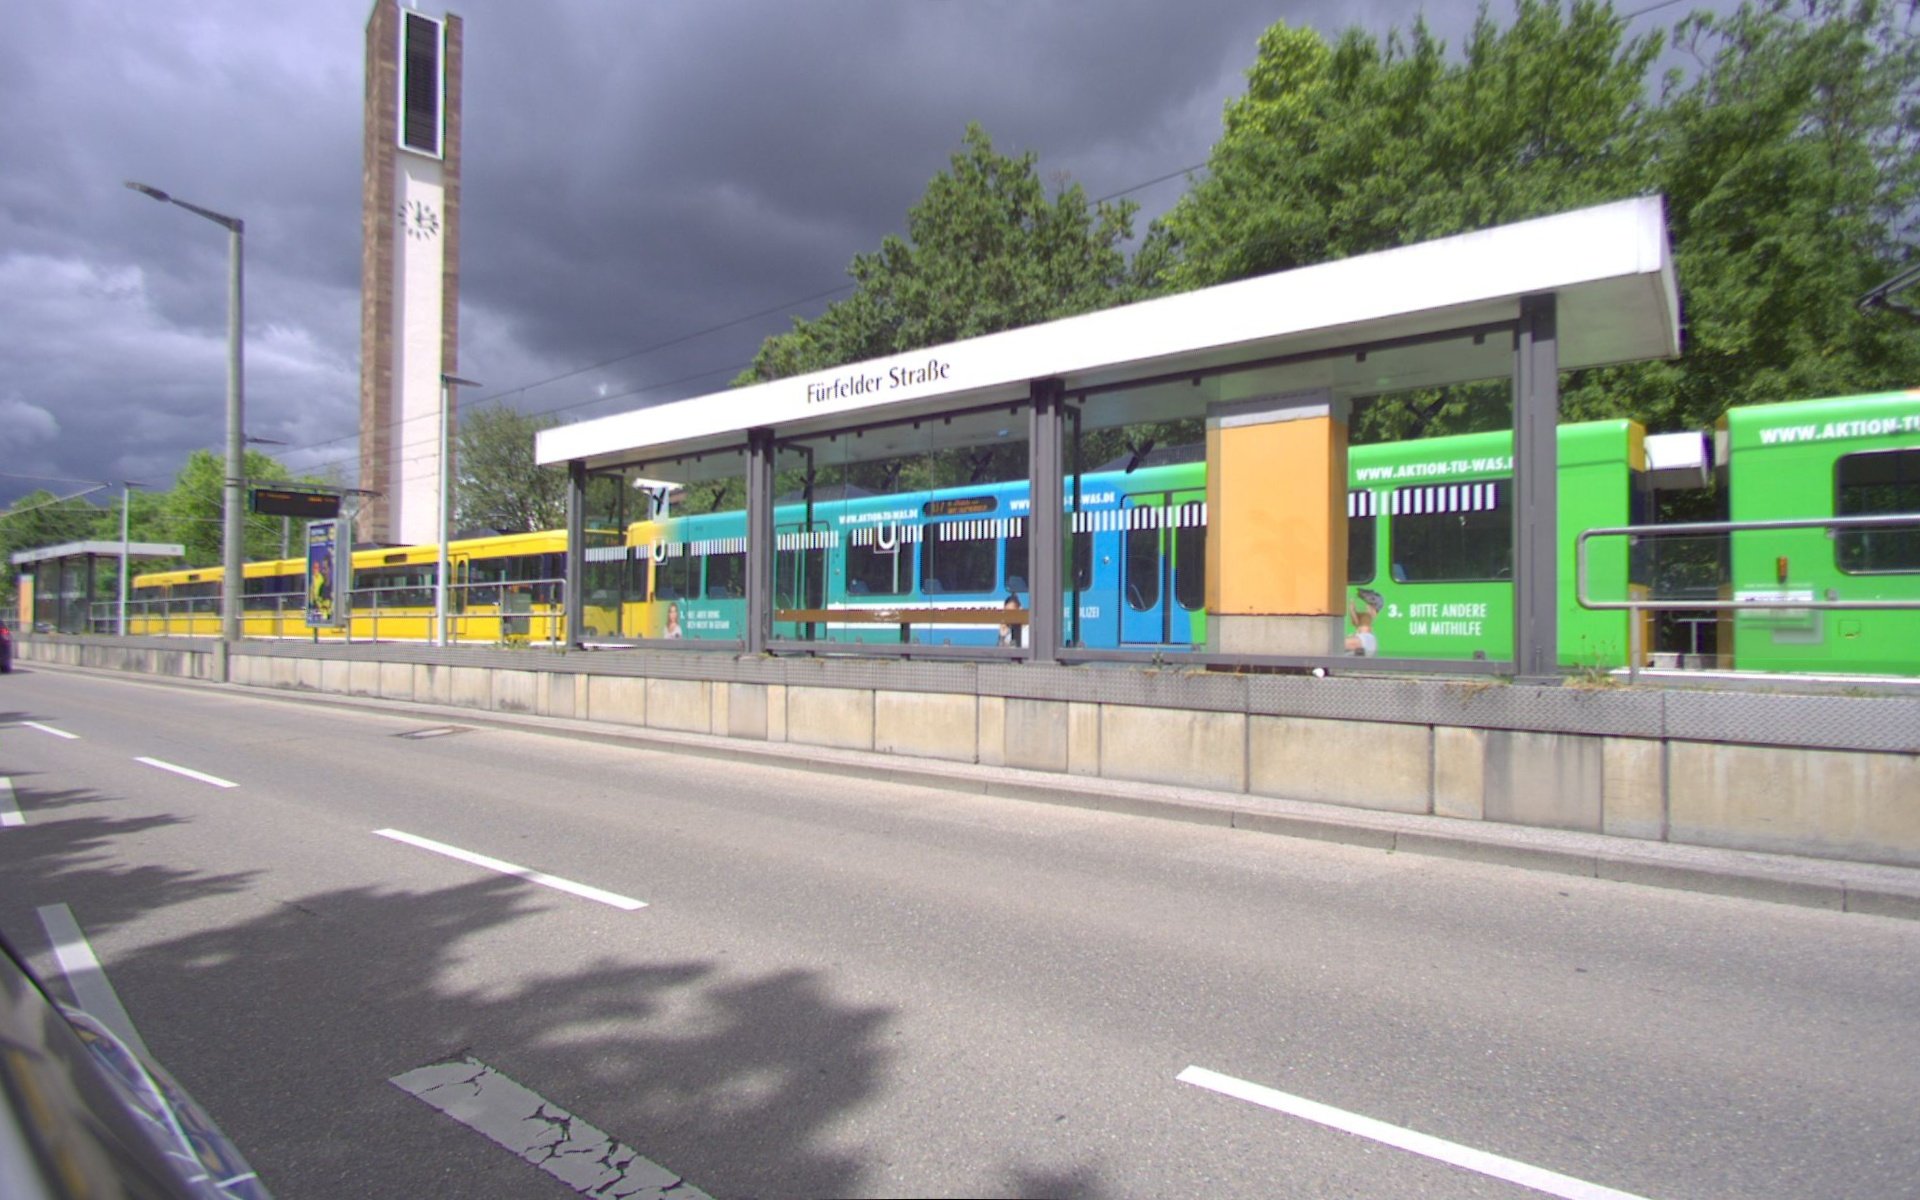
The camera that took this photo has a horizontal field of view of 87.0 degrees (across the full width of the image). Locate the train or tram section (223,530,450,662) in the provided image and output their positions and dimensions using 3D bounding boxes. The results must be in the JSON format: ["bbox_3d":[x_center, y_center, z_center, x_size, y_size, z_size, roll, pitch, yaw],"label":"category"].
[{"bbox_3d":[-21.514,-0.072,34.510,11.092,3.892,2.952,-1,0,38],"label":"train or tram section"}]

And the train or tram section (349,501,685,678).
[{"bbox_3d":[-12.364,-0.191,27.225,12.185,3.892,2.952,-1,0,39],"label":"train or tram section"}]

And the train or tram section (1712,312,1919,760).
[{"bbox_3d":[15.357,-0.645,5.070,18.515,3.892,2.952,-1,0,39],"label":"train or tram section"}]

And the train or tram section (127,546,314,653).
[{"bbox_3d":[-31.024,0.051,42.080,13.133,3.892,2.952,-1,0,39],"label":"train or tram section"}]

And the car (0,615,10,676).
[{"bbox_3d":[-27.464,1.216,27.629,4.223,1.624,1.734,-1,-1,40],"label":"car"}]

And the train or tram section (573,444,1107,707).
[{"bbox_3d":[-3.005,-0.313,19.786,11.771,3.892,2.952,-1,0,39],"label":"train or tram section"}]

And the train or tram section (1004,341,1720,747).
[{"bbox_3d":[4.835,-0.508,13.477,8.367,3.892,2.952,-1,0,39],"label":"train or tram section"}]
